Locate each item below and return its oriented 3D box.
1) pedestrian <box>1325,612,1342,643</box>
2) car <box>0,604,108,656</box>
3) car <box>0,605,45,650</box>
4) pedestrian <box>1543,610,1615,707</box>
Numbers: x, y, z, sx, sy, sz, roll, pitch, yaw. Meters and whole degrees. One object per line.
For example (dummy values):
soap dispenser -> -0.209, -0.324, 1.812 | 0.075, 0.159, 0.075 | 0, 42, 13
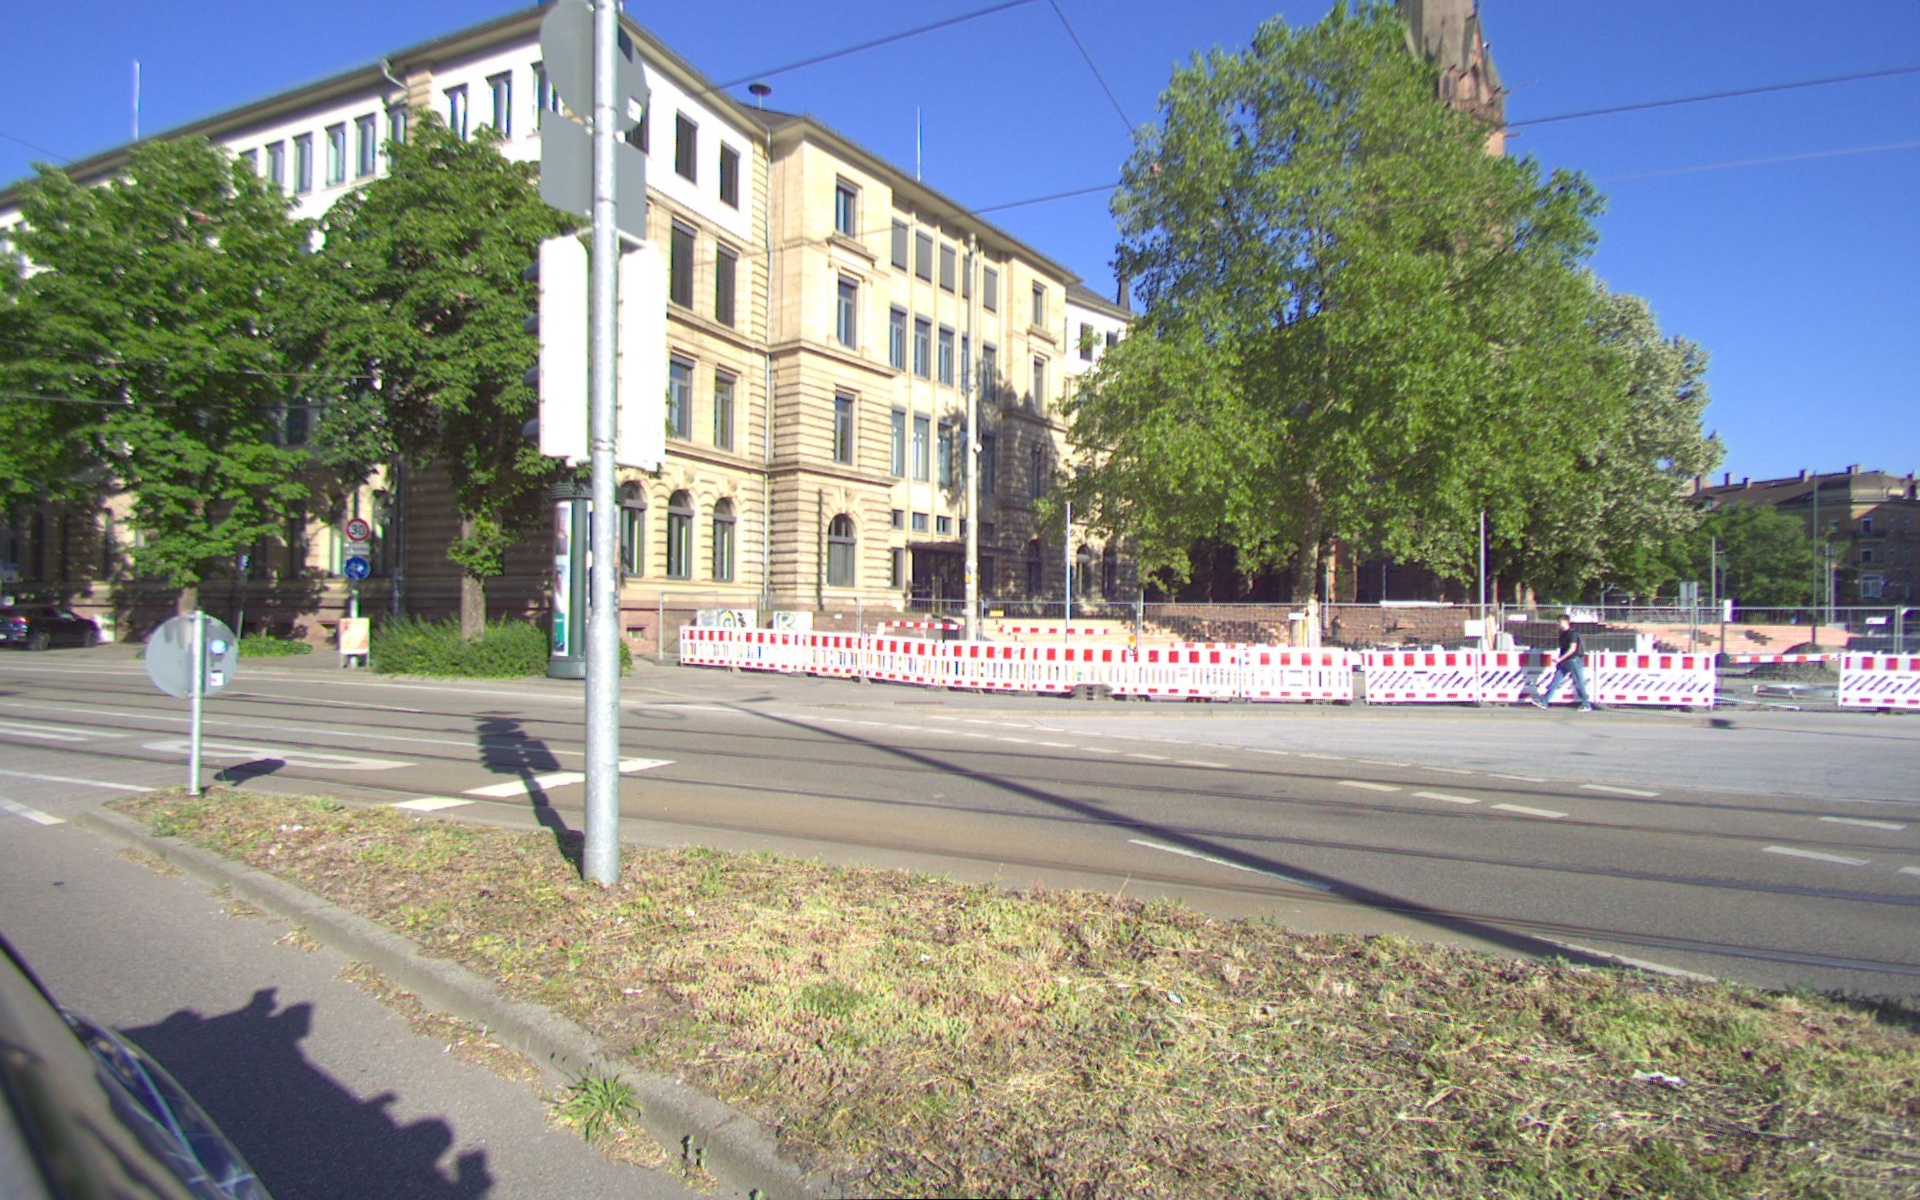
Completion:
pedestrian -> 20.445, 1.487, 55.435 | 0.628, 1.660, 0.676 | 1, -1, -42
car -> -32.123, 0.997, 35.235 | 1.817, 1.643, 4.189 | -1, 0, -8
car -> -34.830, 0.992, 35.983 | 1.624, 1.572, 3.657 | -1, 0, -8
pedestrian -> 11.414, 1.072, 18.686 | 0.891, 1.710, 0.709 | 2, -2, 9
